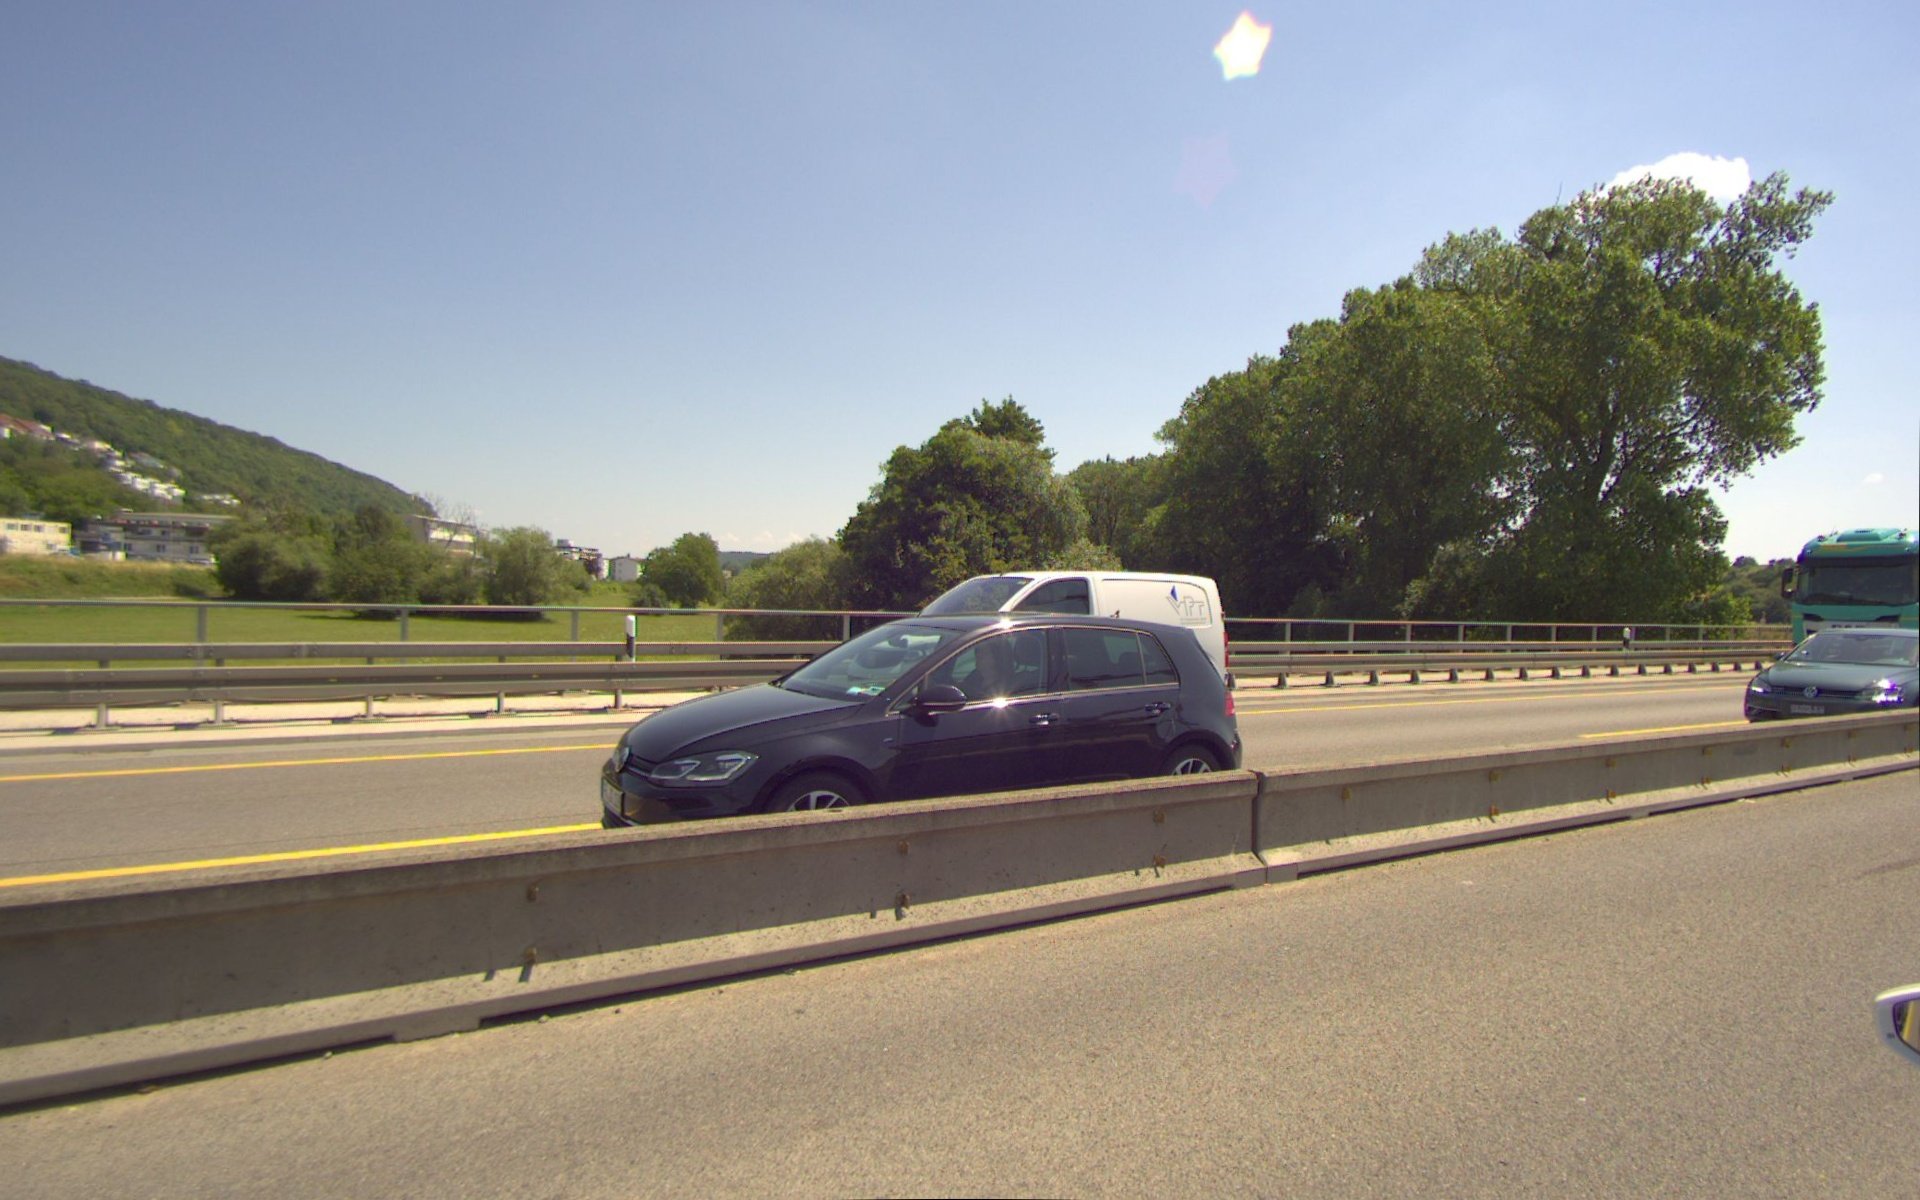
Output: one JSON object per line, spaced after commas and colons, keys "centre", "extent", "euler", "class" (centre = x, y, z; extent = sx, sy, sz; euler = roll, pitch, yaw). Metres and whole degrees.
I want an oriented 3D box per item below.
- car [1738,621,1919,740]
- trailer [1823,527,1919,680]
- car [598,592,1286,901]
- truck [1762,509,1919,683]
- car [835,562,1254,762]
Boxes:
{"centre": [12.543, 1.008, 13.768], "extent": [4.056, 1.427, 1.623], "euler": [1, -2, -31], "class": "car"}
{"centre": [26.816, 0.178, 27.114], "extent": [8.856, 3.721, 2.780], "euler": [1, -2, -32], "class": "trailer"}
{"centre": [-0.001, 0.714, 6.381], "extent": [4.108, 1.410, 1.670], "euler": [1, -2, -31], "class": "car"}
{"centre": [22.324, -0.002, 24.391], "extent": [5.313, 3.771, 2.783], "euler": [1, -2, -31], "class": "truck"}
{"centre": [1.043, 0.632, 11.473], "extent": [4.575, 1.892, 1.850], "euler": [1, -1, -31], "class": "car"}
